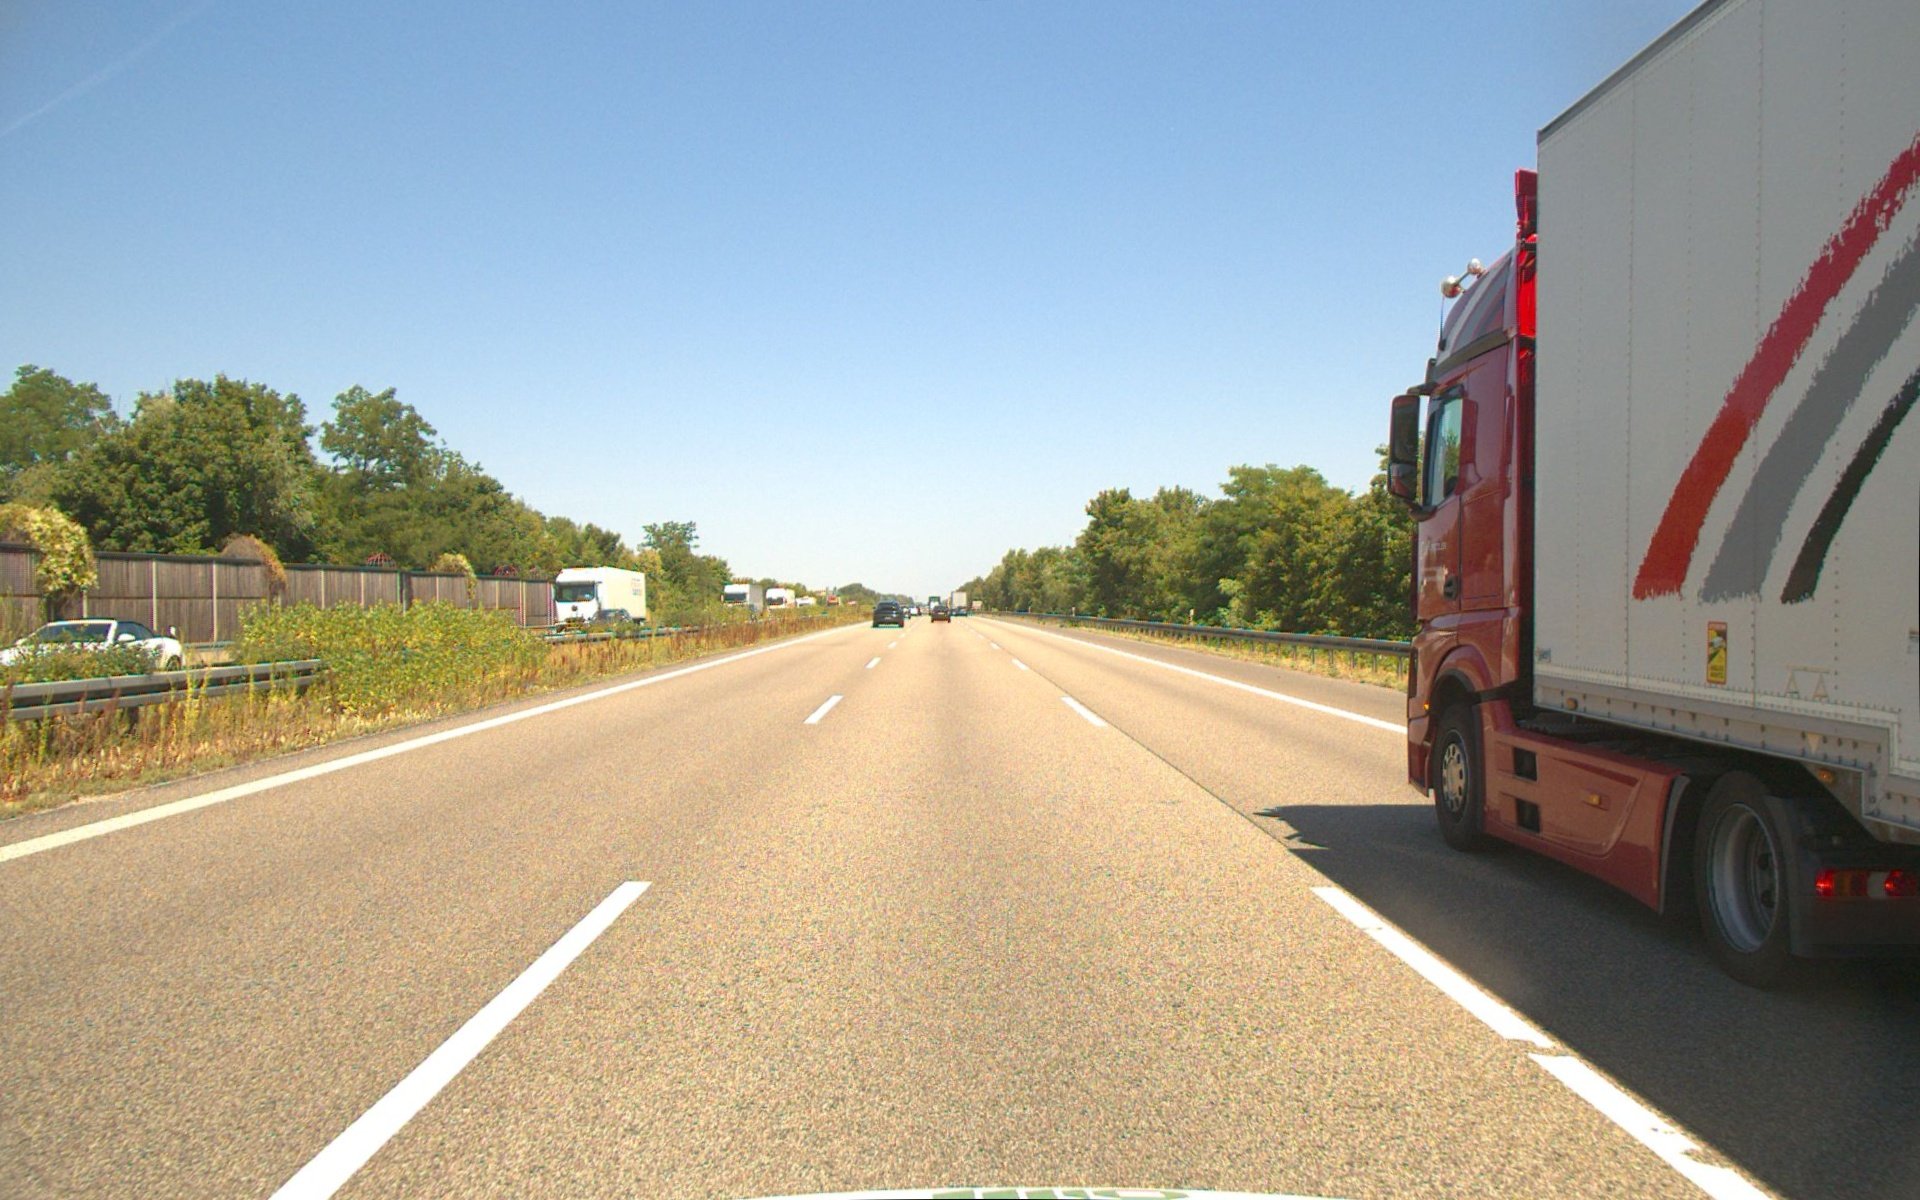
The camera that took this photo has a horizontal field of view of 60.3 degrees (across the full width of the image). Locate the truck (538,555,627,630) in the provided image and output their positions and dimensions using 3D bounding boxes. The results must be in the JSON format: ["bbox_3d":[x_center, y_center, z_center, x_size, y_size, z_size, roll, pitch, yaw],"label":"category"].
[{"bbox_3d":[-22.387,-0.426,98.443,3.509,4.175,7.837,-1,0,-1],"label":"truck"}]

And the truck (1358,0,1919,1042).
[{"bbox_3d":[4.662,-0.994,9.192,3.168,4.974,6.971,0,0,0],"label":"truck"}]

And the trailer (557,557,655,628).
[{"bbox_3d":[-22.397,-0.444,105.453,3.537,4.175,12.794,-1,0,-1],"label":"trailer"}]

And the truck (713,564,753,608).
[{"bbox_3d":[-23.945,-1.444,174.650,3.152,4.517,7.869,0,0,-1],"label":"truck"}]

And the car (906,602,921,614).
[{"bbox_3d":[-6.537,1.136,233.964,2.085,1.674,4.303,-1,0,-1],"label":"car"}]

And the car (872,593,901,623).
[{"bbox_3d":[-4.732,0.498,106.378,1.842,1.823,3.999,0,1,-2],"label":"car"}]

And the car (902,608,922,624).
[{"bbox_3d":[-5.103,1.737,176.925,2.085,1.674,4.303,-1,0,-1],"label":"car"}]

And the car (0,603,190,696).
[{"bbox_3d":[-14.972,0.777,28.090,1.741,1.437,4.498,0,0,-1],"label":"car"}]

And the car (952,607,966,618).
[{"bbox_3d":[-0.199,1.951,251.472,2.085,1.611,4.303,-1,0,-1],"label":"car"}]

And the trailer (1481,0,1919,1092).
[{"bbox_3d":[4.680,-0.862,2.607,3.202,4.922,14.028,0,1,0],"label":"trailer"}]

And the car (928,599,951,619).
[{"bbox_3d":[-1.746,0.744,139.891,1.864,1.611,4.303,-1,0,-1],"label":"car"}]
